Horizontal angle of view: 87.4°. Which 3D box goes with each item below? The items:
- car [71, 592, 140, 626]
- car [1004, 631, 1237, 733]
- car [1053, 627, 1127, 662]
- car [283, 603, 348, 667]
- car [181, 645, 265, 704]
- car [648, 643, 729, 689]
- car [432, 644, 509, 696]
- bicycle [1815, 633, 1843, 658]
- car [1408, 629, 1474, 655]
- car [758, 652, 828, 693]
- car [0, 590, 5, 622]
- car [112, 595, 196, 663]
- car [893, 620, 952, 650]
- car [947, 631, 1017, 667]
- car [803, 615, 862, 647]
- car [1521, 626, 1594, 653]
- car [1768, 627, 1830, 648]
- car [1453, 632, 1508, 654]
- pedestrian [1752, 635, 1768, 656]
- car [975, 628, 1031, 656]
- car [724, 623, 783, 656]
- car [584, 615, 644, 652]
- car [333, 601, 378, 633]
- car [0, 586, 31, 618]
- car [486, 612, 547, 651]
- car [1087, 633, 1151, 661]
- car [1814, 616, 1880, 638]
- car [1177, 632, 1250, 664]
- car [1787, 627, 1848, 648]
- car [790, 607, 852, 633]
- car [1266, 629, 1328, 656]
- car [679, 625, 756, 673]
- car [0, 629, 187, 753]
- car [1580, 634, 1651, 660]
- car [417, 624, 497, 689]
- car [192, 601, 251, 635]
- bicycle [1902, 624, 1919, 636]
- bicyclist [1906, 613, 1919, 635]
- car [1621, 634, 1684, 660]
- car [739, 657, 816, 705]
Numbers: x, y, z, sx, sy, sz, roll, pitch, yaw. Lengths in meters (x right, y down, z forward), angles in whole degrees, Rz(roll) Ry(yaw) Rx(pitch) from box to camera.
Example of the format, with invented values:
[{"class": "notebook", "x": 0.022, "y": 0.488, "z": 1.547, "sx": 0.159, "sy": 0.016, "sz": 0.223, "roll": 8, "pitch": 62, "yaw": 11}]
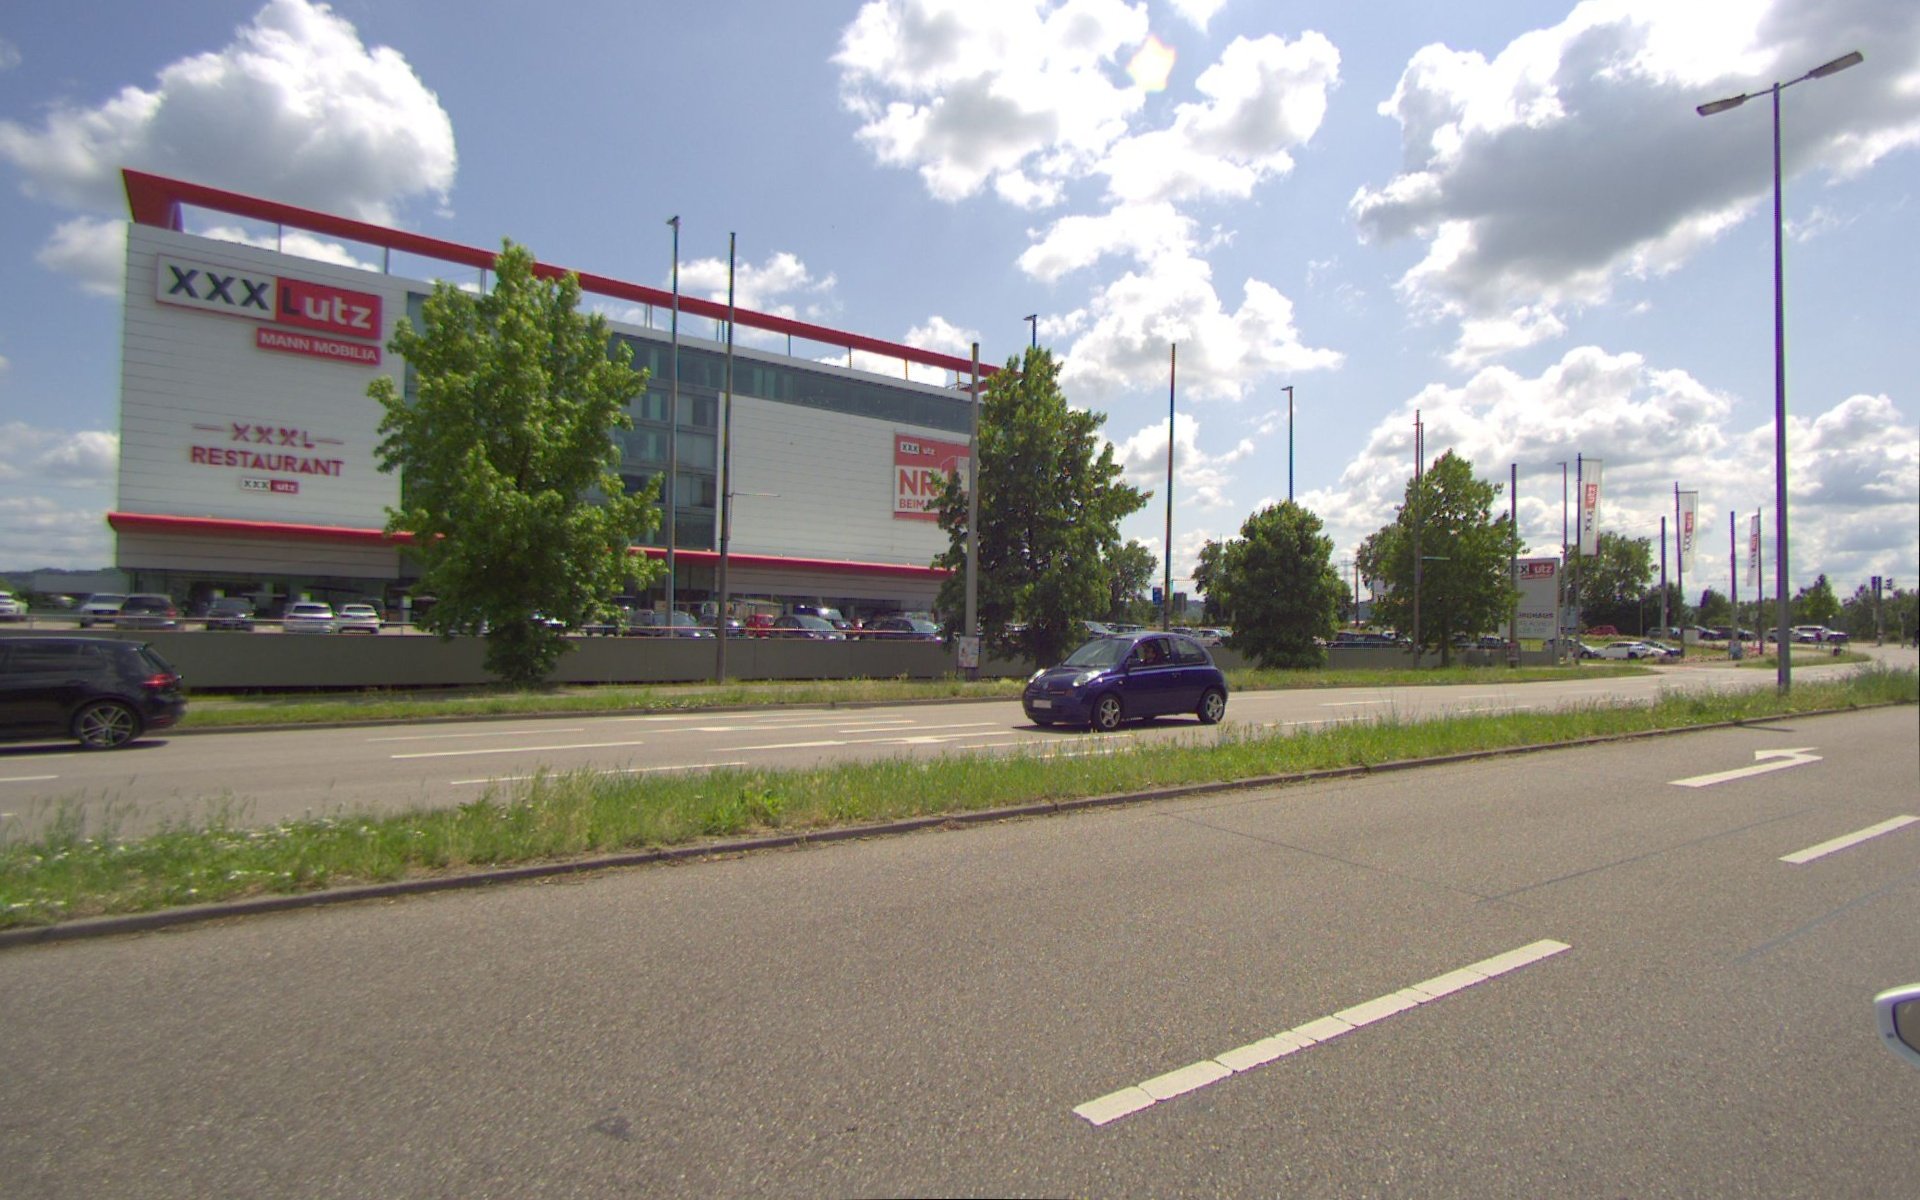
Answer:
[{"class": "car", "x": -40.450, "y": 0.476, "z": 47.648, "sx": 1.835, "sy": 1.489, "sz": 3.802, "roll": 1, "pitch": -2, "yaw": -31}, {"class": "car", "x": 2.684, "y": 1.266, "z": 16.566, "sx": 3.640, "sy": 1.494, "sz": 1.728, "roll": 1, "pitch": -2, "yaw": -35}, {"class": "car", "x": 7.680, "y": 2.602, "z": 59.626, "sx": 1.982, "sy": 2.015, "sz": 4.317, "roll": 2, "pitch": -2, "yaw": -37}, {"class": "car", "x": -25.358, "y": 1.390, "z": 39.621, "sx": 1.977, "sy": 2.359, "sz": 4.327, "roll": 1, "pitch": -2, "yaw": -31}, {"class": "car", "x": -22.151, "y": 2.193, "z": 30.321, "sx": 1.830, "sy": 1.617, "sz": 3.964, "roll": 1, "pitch": -2, "yaw": -33}, {"class": "car", "x": -10.305, "y": 2.427, "z": 37.913, "sx": 1.827, "sy": 1.617, "sz": 3.964, "roll": 1, "pitch": -2, "yaw": -33}, {"class": "car", "x": -16.442, "y": 2.294, "z": 33.664, "sx": 1.830, "sy": 1.617, "sz": 3.964, "roll": 1, "pitch": -2, "yaw": -33}, {"class": "bicycle", "x": 60.643, "y": 3.180, "z": 70.094, "sx": 2.029, "sy": 1.697, "sz": 1.010, "roll": 1, "pitch": -2, "yaw": -37}, {"class": "car", "x": 39.787, "y": 3.449, "z": 83.109, "sx": 1.982, "sy": 2.015, "sz": 4.549, "roll": 3, "pitch": -2, "yaw": -37}, {"class": "car", "x": -9.165, "y": 3.913, "z": 54.884, "sx": 1.982, "sy": 2.015, "sz": 4.317, "roll": 2, "pitch": -2, "yaw": -37}, {"class": "car", "x": -44.262, "y": 0.217, "z": 44.771, "sx": 1.572, "sy": 1.489, "sz": 3.802, "roll": 1, "pitch": -2, "yaw": -31}, {"class": "car", "x": -29.646, "y": 1.078, "z": 37.056, "sx": 1.979, "sy": 2.359, "sz": 4.322, "roll": 2, "pitch": -2, "yaw": -34}, {"class": "car", "x": -2.637, "y": 2.441, "z": 69.967, "sx": 1.982, "sy": 2.015, "sz": 4.317, "roll": 2, "pitch": -2, "yaw": -37}, {"class": "car", "x": 1.281, "y": 2.910, "z": 60.515, "sx": 1.982, "sy": 2.077, "sz": 4.317, "roll": 2, "pitch": -2, "yaw": -37}, {"class": "car", "x": -8.348, "y": 2.046, "z": 65.702, "sx": 1.982, "sy": 2.015, "sz": 4.317, "roll": 2, "pitch": -2, "yaw": -37}, {"class": "car", "x": 45.017, "y": 2.961, "z": 75.687, "sx": 1.982, "sy": 2.015, "sz": 4.317, "roll": 2, "pitch": -2, "yaw": -37}, {"class": "car", "x": 82.803, "y": 3.701, "z": 99.187, "sx": 1.982, "sy": 2.015, "sz": 4.317, "roll": 2, "pitch": -2, "yaw": -37}, {"class": "car", "x": 50.432, "y": 4.161, "z": 97.337, "sx": 1.982, "sy": 2.015, "sz": 4.317, "roll": 2, "pitch": -2, "yaw": -37}, {"class": "pedestrian", "x": 71.130, "y": 4.049, "z": 89.322, "sx": 0.851, "sy": 1.862, "sz": 0.797, "roll": 2, "pitch": 0, "yaw": 25}, {"class": "car", "x": 3.193, "y": 3.104, "z": 74.796, "sx": 1.980, "sy": 2.015, "sz": 4.320, "roll": 1, "pitch": -2, "yaw": -35}, {"class": "car", "x": -13.077, "y": 2.500, "z": 63.367, "sx": 1.982, "sy": 2.015, "sz": 4.317, "roll": 2, "pitch": -2, "yaw": -37}, {"class": "car", "x": -19.614, "y": 1.907, "z": 56.808, "sx": 1.982, "sy": 2.015, "sz": 4.317, "roll": 2, "pitch": -2, "yaw": -37}, {"class": "car", "x": -29.948, "y": 0.869, "z": 49.717, "sx": 1.664, "sy": 1.489, "sz": 3.797, "roll": 1, "pitch": -2, "yaw": -34}, {"class": "car", "x": -50.698, "y": 0.106, "z": 53.118, "sx": 1.838, "sy": 1.564, "sz": 3.795, "roll": 1, "pitch": -2, "yaw": -36}, {"class": "car", "x": -23.840, "y": 1.668, "z": 53.878, "sx": 1.983, "sy": 2.015, "sz": 4.315, "roll": 2, "pitch": -2, "yaw": -38}, {"class": "car", "x": 10.801, "y": 3.160, "z": 68.274, "sx": 1.761, "sy": 1.854, "sz": 4.317, "roll": 2, "pitch": -2, "yaw": -37}, {"class": "car", "x": 82.506, "y": 2.544, "z": 93.466, "sx": 1.982, "sy": 2.015, "sz": 4.317, "roll": 2, "pitch": -2, "yaw": -37}, {"class": "car", "x": 16.427, "y": 3.078, "z": 65.302, "sx": 1.982, "sy": 2.015, "sz": 4.317, "roll": 2, "pitch": -2, "yaw": -37}, {"class": "car", "x": 85.628, "y": 3.730, "z": 100.398, "sx": 1.982, "sy": 2.015, "sz": 4.317, "roll": 2, "pitch": -2, "yaw": -37}, {"class": "car", "x": -9.975, "y": 1.467, "z": 71.688, "sx": 2.179, "sy": 1.802, "sz": 5.079, "roll": 1, "pitch": -2, "yaw": -38}, {"class": "car", "x": 26.787, "y": 3.373, "z": 79.851, "sx": 1.982, "sy": 2.015, "sz": 4.317, "roll": 4, "pitch": -4, "yaw": -37}, {"class": "car", "x": -10.842, "y": 2.146, "z": 44.820, "sx": 1.981, "sy": 2.040, "sz": 3.959, "roll": 1, "pitch": -2, "yaw": -37}, {"class": "car", "x": -12.311, "y": 1.112, "z": 12.569, "sx": 4.075, "sy": 1.489, "sz": 1.609, "roll": 1, "pitch": -2, "yaw": -35}, {"class": "car", "x": 51.560, "y": 3.659, "z": 79.060, "sx": 1.982, "sy": 2.015, "sz": 4.317, "roll": 2, "pitch": -2, "yaw": -37}, {"class": "car", "x": -19.502, "y": 2.151, "z": 38.859, "sx": 1.982, "sy": 2.359, "sz": 4.317, "roll": 2, "pitch": -2, "yaw": -37}, {"class": "car", "x": -34.092, "y": 0.854, "z": 46.462, "sx": 1.835, "sy": 1.489, "sz": 3.802, "roll": 1, "pitch": -2, "yaw": -31}, {"class": "bicycle", "x": 82.575, "y": 2.612, "z": 86.501, "sx": 0.616, "sy": 1.012, "sz": 2.002, "roll": 2, "pitch": 1, "yaw": -36}, {"class": "bicyclist", "x": 82.418, "y": 2.038, "z": 86.750, "sx": 0.605, "sy": 1.870, "sz": 0.914, "roll": 1, "pitch": -1, "yaw": -37}, {"class": "car", "x": 55.636, "y": 3.723, "z": 80.715, "sx": 3.944, "sy": 2.040, "sz": 1.989, "roll": -2, "pitch": -3, "yaw": 43}, {"class": "car", "x": -8.525, "y": 3.718, "z": 46.716, "sx": 1.981, "sy": 2.040, "sz": 3.959, "roll": 1, "pitch": -2, "yaw": -37}]
